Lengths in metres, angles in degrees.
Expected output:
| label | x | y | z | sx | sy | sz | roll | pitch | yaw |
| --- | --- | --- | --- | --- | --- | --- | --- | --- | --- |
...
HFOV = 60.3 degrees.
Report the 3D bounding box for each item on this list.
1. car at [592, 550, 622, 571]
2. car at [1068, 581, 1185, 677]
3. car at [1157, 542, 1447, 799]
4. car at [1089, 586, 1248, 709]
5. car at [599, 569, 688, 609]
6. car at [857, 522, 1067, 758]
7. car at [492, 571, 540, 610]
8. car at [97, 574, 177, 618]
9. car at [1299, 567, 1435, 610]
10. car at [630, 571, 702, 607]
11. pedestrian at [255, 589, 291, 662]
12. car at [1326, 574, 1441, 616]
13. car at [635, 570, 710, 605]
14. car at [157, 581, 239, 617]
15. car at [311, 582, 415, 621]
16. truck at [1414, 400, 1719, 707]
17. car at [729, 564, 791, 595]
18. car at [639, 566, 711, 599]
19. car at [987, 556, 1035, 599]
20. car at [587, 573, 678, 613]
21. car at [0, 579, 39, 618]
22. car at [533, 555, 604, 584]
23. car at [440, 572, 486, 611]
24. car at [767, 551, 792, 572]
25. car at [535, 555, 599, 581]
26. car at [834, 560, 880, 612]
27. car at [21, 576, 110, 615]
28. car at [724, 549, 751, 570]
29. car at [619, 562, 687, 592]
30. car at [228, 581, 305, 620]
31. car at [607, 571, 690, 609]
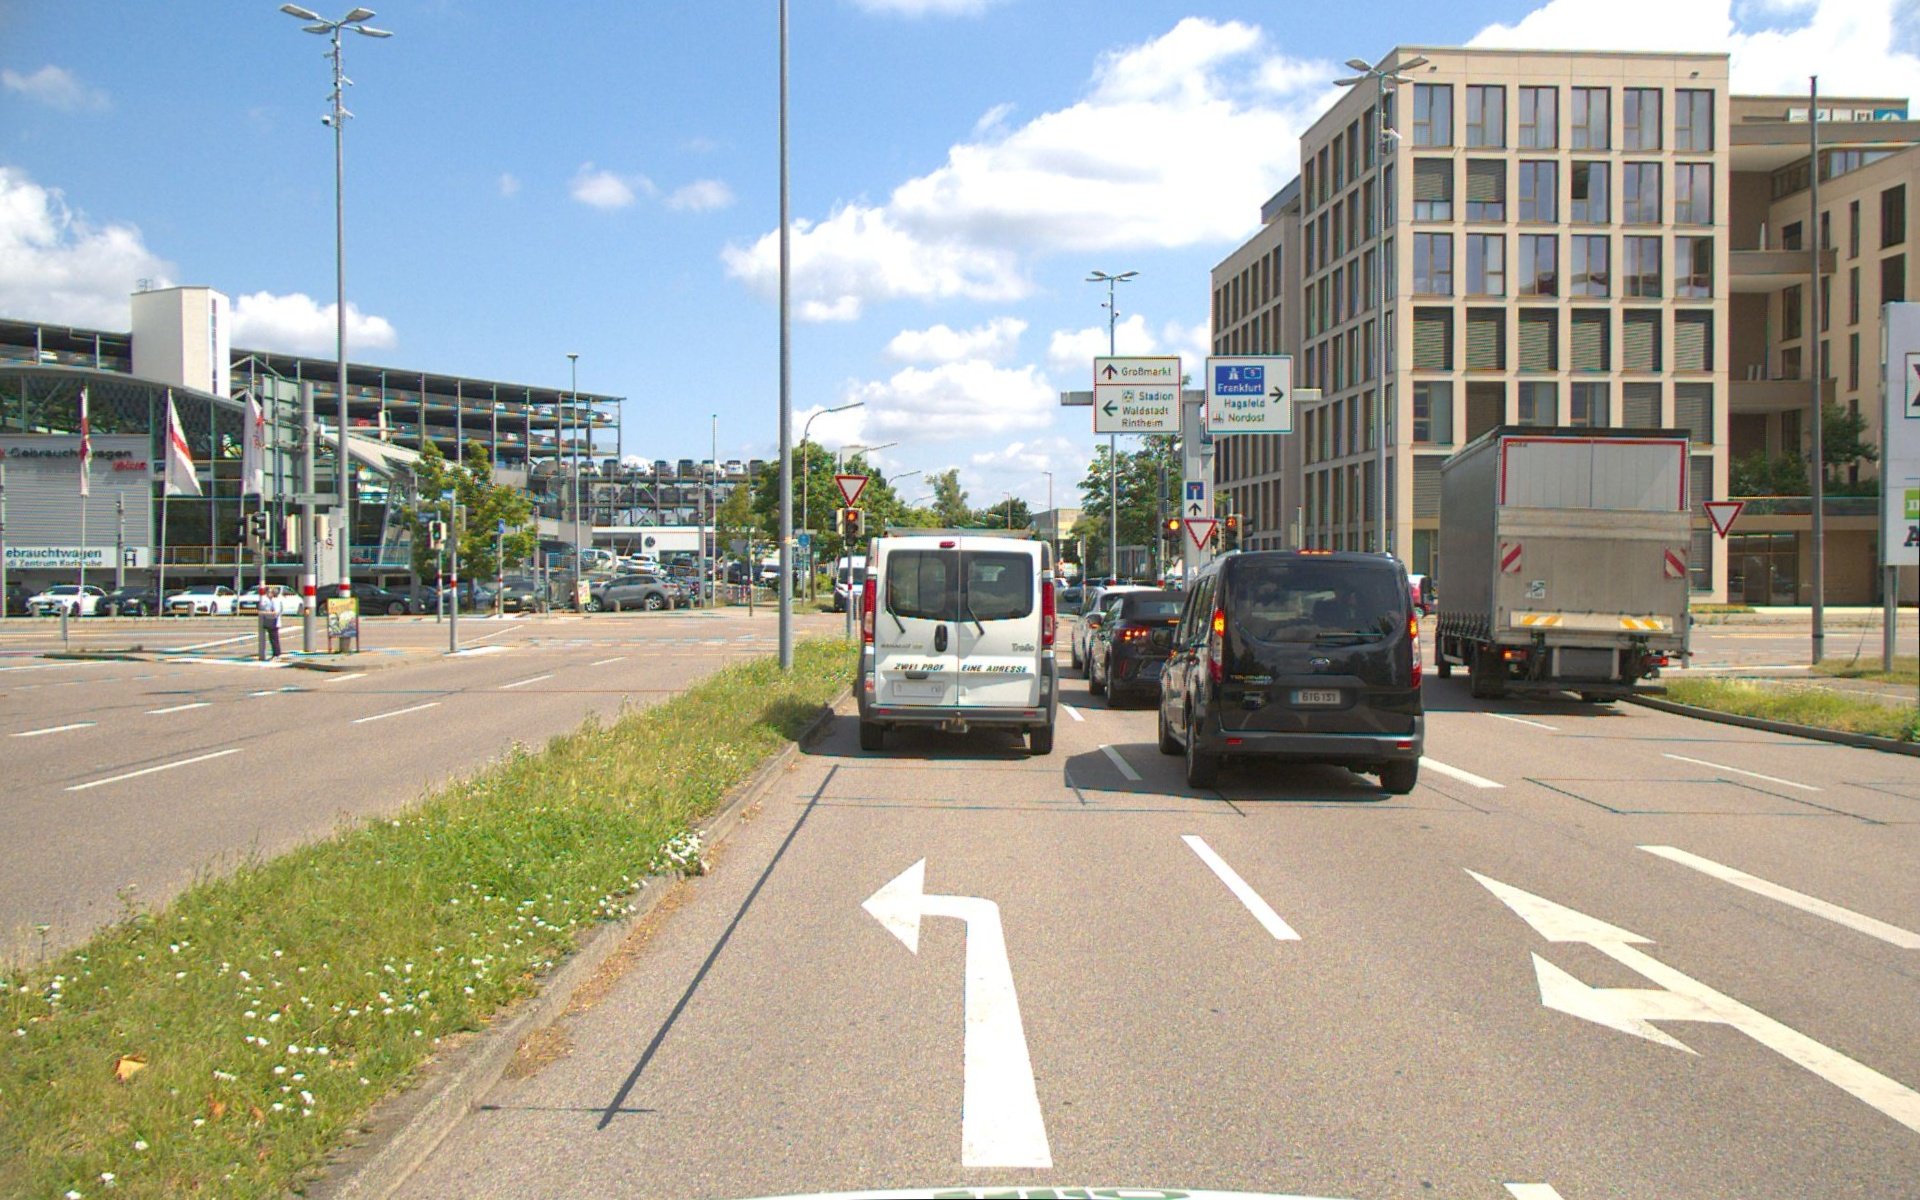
| label | x | y | z | sx | sy | sz | roll | pitch | yaw |
| --- | --- | --- | --- | --- | --- | --- | --- | --- | --- |
| car | -27.314 | -3.080 | 128.029 | 1.810 | 1.556 | 3.997 | 0 | 1 | -5 |
| car | 2.922 | 0.481 | 29.716 | 1.704 | 1.570 | 4.000 | 1 | 0 | 0 |
| car | 2.745 | 0.492 | 14.137 | 1.782 | 1.840 | 4.002 | 1 | 1 | 2 |
| car | 2.793 | 0.596 | 22.912 | 1.704 | 1.521 | 4.000 | 1 | 0 | 0 |
| car | -14.752 | -0.517 | 77.260 | 3.835 | 1.742 | 1.688 | -1 | 1 | -4 |
| car | 0.072 | 0.342 | 16.582 | 1.817 | 2.053 | 4.001 | 1 | 0 | 2 |
| car | -18.708 | -0.395 | 69.601 | 1.788 | 1.579 | 3.981 | 1 | 0 | -17 |
| car | -33.809 | -0.188 | 68.056 | 1.722 | 1.689 | 3.614 | 0 | 1 | -4 |
| car | 16.133 | -0.469 | 65.754 | 4.883 | 1.635 | 1.999 | 0 | 1 | -3 |
| car | -15.156 | -0.587 | 85.293 | 3.439 | 1.742 | 1.602 | -1 | 1 | -4 |
| pedestrian | -14.620 | 0.531 | 35.210 | 0.460 | 1.538 | 0.511 | 1 | 0 | 24 |
| car | 15.771 | -0.195 | 61.658 | 3.815 | 1.516 | 1.794 | 0 | 1 | -2 |
| car | -15.677 | -0.696 | 90.269 | 3.835 | 1.742 | 1.688 | -1 | 1 | -4 |
| car | -31.362 | -0.064 | 68.170 | 1.870 | 1.400 | 3.749 | 0 | 1 | -4 |
| car | -24.692 | 0.042 | 68.484 | 3.718 | 1.539 | 1.677 | 0 | 1 | -6 |
| truck | 9.199 | -0.719 | 26.273 | 3.063 | 4.009 | 8.867 | 1 | 1 | 11 |
| car | -12.820 | -1.310 | 106.103 | 3.911 | 1.959 | 1.824 | 1 | 0 | -7 |
| car | -16.070 | -0.991 | 93.420 | 3.835 | 1.742 | 1.688 | -1 | 1 | -4 |
| car | 2.767 | -1.263 | 91.468 | 1.955 | 2.294 | 5.509 | 0 | 1 | -6 |
| car | -14.735 | -0.344 | 74.630 | 3.785 | 1.668 | 1.857 | -1 | 1 | -4 |
| car | -39.456 | -0.086 | 67.682 | 1.693 | 1.512 | 3.698 | 0 | 1 | -4 |
| car | -24.527 | -1.877 | 103.690 | 4.085 | 1.743 | 1.687 | 1 | 0 | -6 |
| car | -20.733 | -0.364 | 69.013 | 1.788 | 1.579 | 3.981 | 1 | 0 | -17 |
| car | -13.860 | -2.960 | 127.203 | 1.810 | 1.556 | 3.997 | 0 | 1 | -5 |
| car | -26.947 | -2.171 | 113.519 | 4.085 | 1.743 | 1.687 | 1 | 0 | -6 |
| car | -4.753 | -0.703 | 76.999 | 1.931 | 2.295 | 4.979 | -1 | 1 | -2 |
| car | -36.674 | -0.192 | 67.886 | 1.842 | 1.512 | 3.699 | 0 | 1 | -4 |
| car | -17.035 | -3.101 | 126.885 | 1.810 | 1.556 | 3.997 | 0 | 1 | -5 |
| car | -19.505 | -1.472 | 105.278 | 4.085 | 1.742 | 1.687 | 2 | 1 | -7 |
| car | -28.740 | 0.000 | 68.699 | 1.741 | 1.475 | 4.027 | 0 | 1 | -4 |
| car | -15.371 | -0.492 | 81.699 | 3.835 | 1.742 | 1.688 | -1 | 1 | -4 |
